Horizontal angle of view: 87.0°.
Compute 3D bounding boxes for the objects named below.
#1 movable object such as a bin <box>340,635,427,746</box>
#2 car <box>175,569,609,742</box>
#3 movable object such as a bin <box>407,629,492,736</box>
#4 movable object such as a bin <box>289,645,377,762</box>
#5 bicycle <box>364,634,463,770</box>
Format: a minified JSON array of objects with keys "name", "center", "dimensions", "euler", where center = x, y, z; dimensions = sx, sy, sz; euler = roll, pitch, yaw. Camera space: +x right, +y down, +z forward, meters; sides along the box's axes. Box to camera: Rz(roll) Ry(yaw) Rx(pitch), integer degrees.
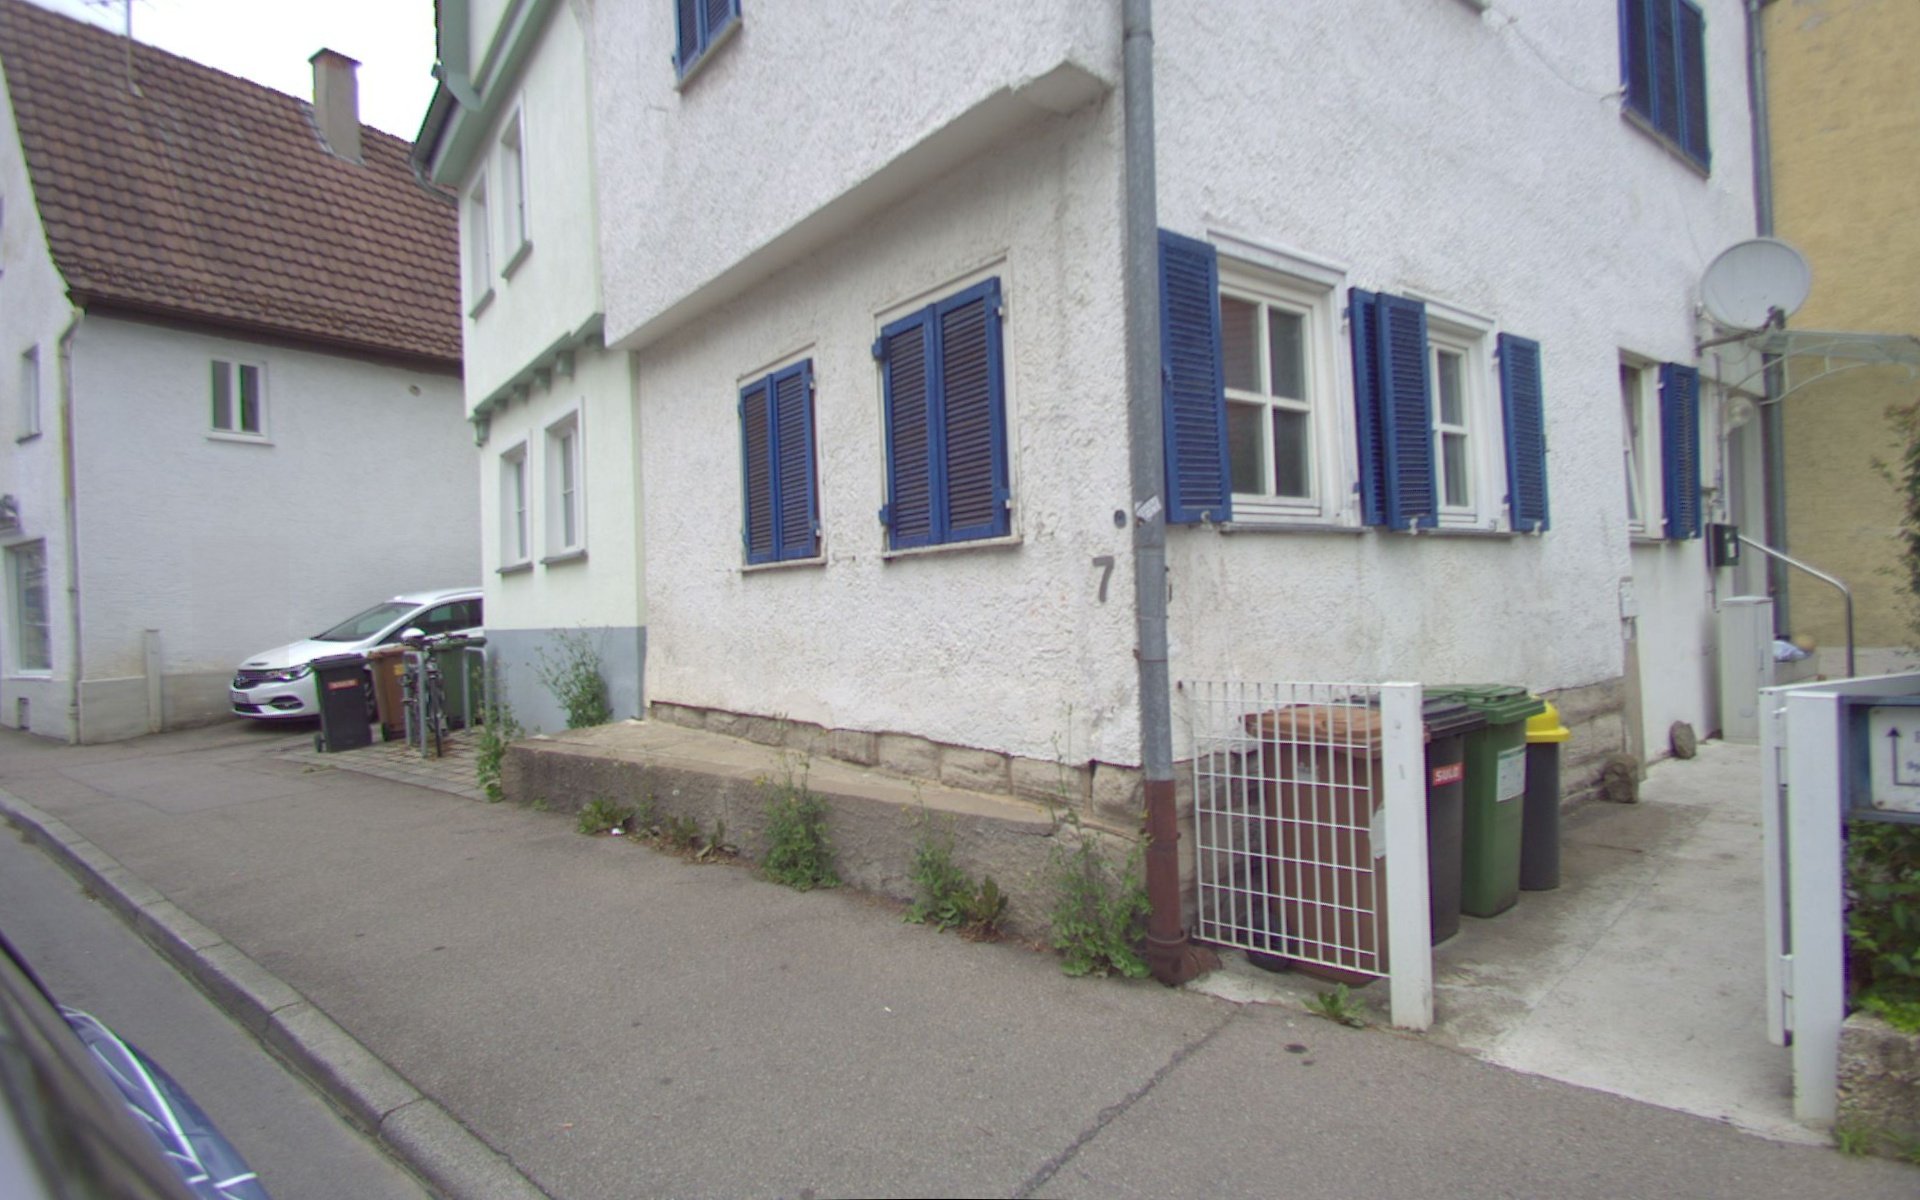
[{"name":"movable object such as a bin","center":[-5.841,0.902,10.246],"dimensions":[0.562,1.007,0.600],"euler":[-8,2,-40]},{"name":"car","center":[-7.185,0.532,13.305],"dimensions":[1.974,1.510,4.501],"euler":[1,7,35]},{"name":"movable object such as a bin","center":[-5.325,0.842,10.554],"dimensions":[0.549,1.007,0.623],"euler":[-9,4,-40]},{"name":"movable object such as a bin","center":[-6.007,0.976,9.690],"dimensions":[0.546,1.007,0.588],"euler":[-8,2,-39]},{"name":"bicycle","center":[-4.941,0.849,9.085],"dimensions":[0.436,1.046,2.097],"euler":[-7,2,-35]}]
